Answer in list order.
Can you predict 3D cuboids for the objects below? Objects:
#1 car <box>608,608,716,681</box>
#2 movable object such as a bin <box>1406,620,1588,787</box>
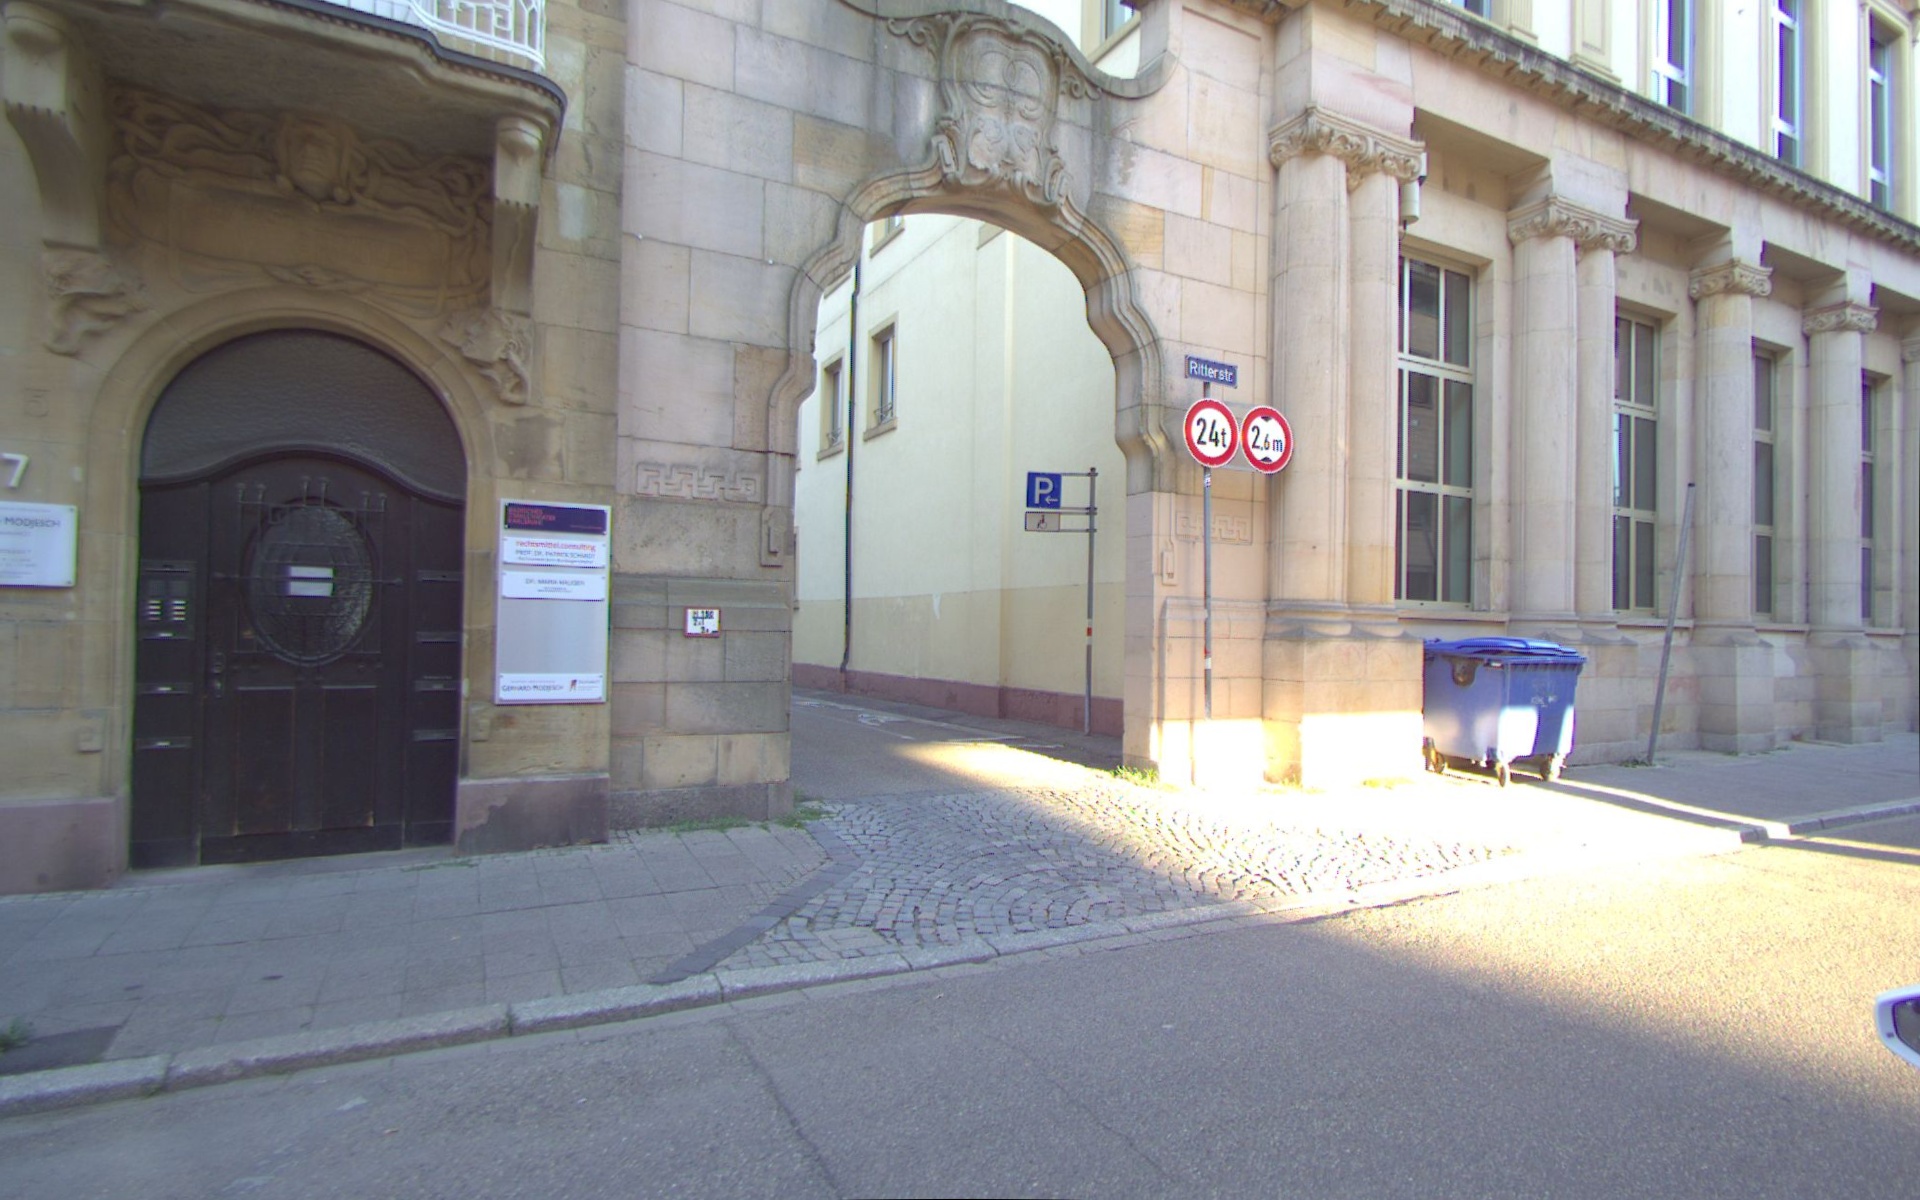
[{"bbox_3d":[-8.334,1.203,27.879,1.840,1.778,4.128,6,-3,-30],"label":"car"},{"bbox_3d":[5.260,0.971,9.884,1.170,1.494,1.071,2,0,-24],"label":"movable object such as a bin"}]
